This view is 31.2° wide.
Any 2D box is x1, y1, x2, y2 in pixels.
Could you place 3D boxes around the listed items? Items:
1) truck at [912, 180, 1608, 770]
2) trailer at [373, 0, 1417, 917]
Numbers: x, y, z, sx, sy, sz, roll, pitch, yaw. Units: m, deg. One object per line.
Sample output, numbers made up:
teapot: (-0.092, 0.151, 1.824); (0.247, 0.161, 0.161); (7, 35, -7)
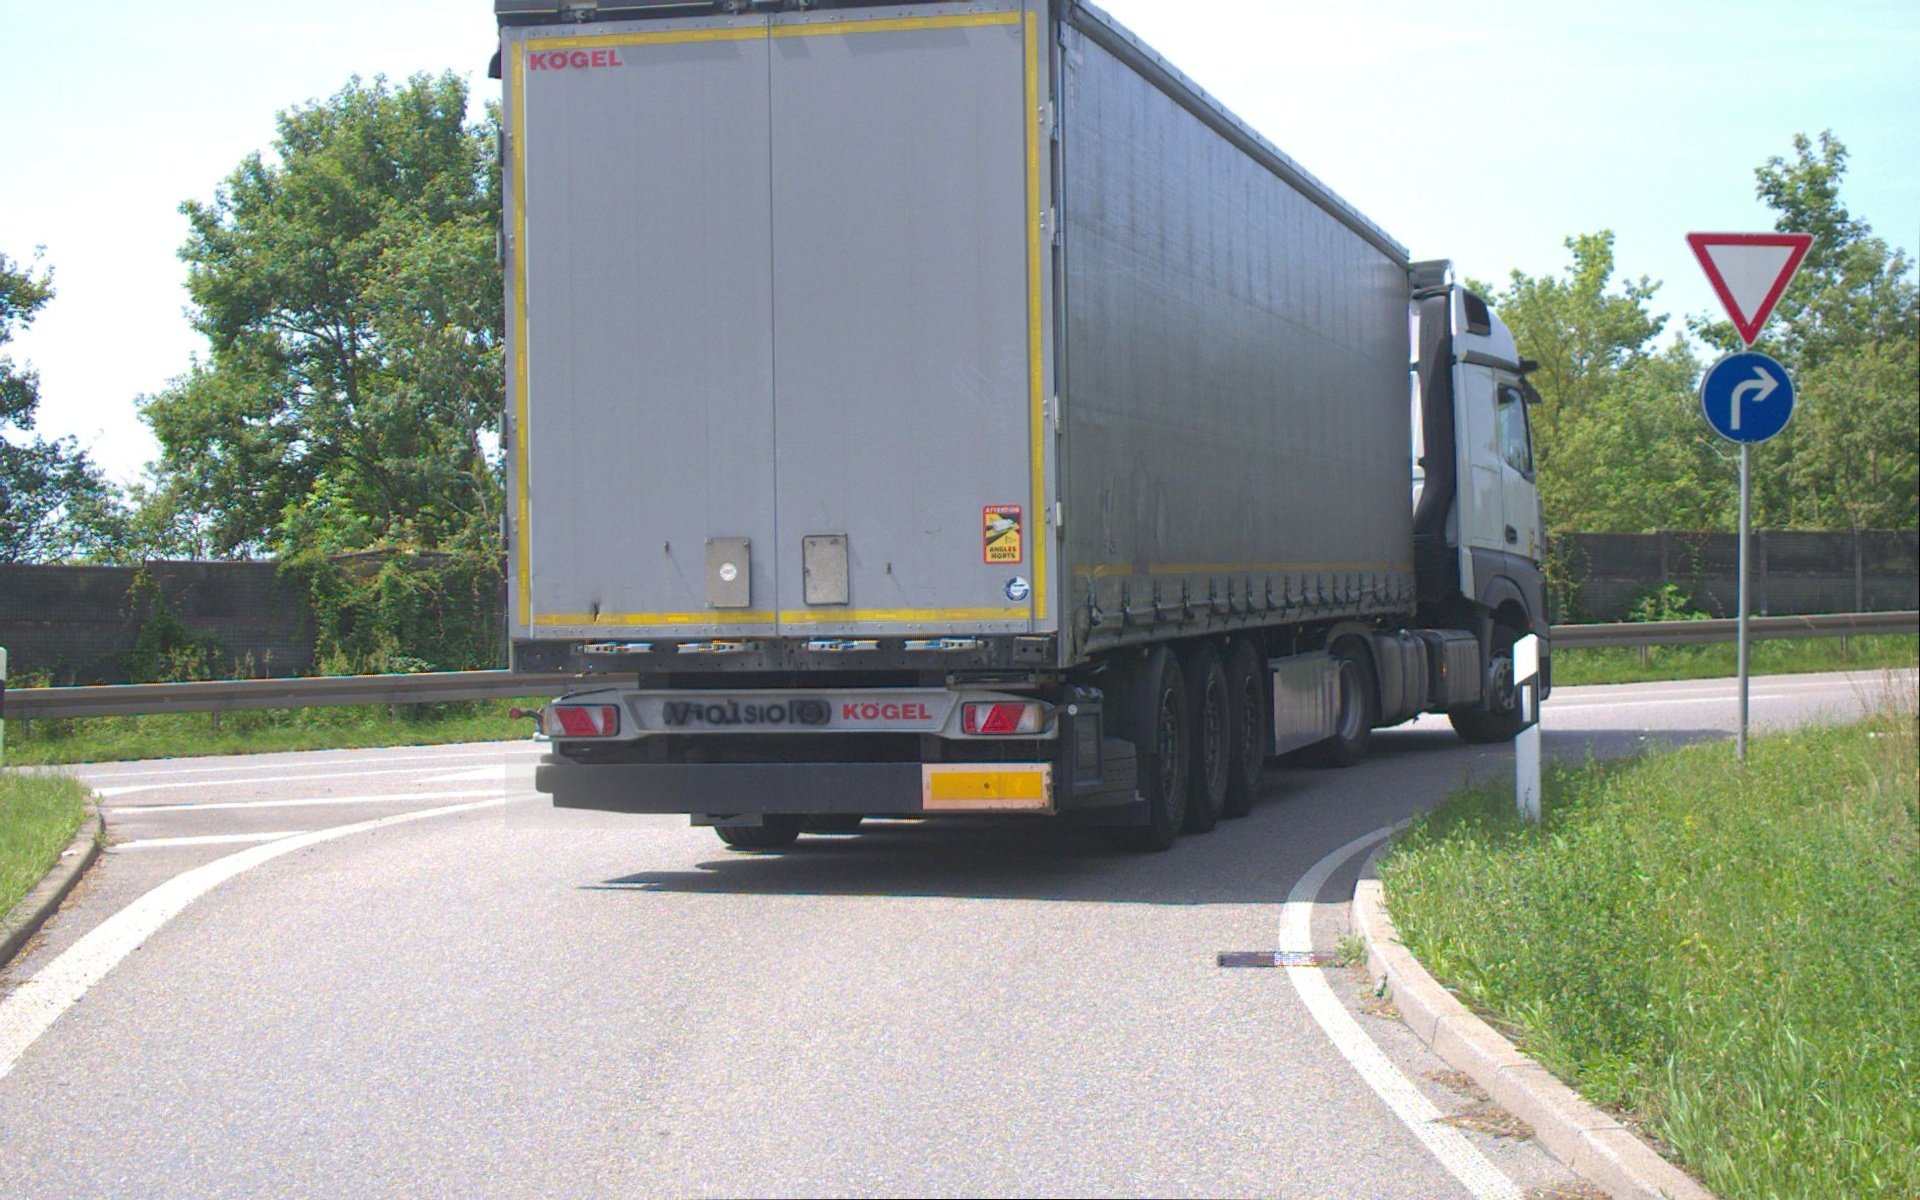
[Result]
truck: (2.725, -0.932, 28.407); (3.157, 4.210, 7.111); (-1, 1, 28)
trailer: (0.525, -0.744, 21.207); (3.029, 4.021, 13.343); (-1, 0, 14)
